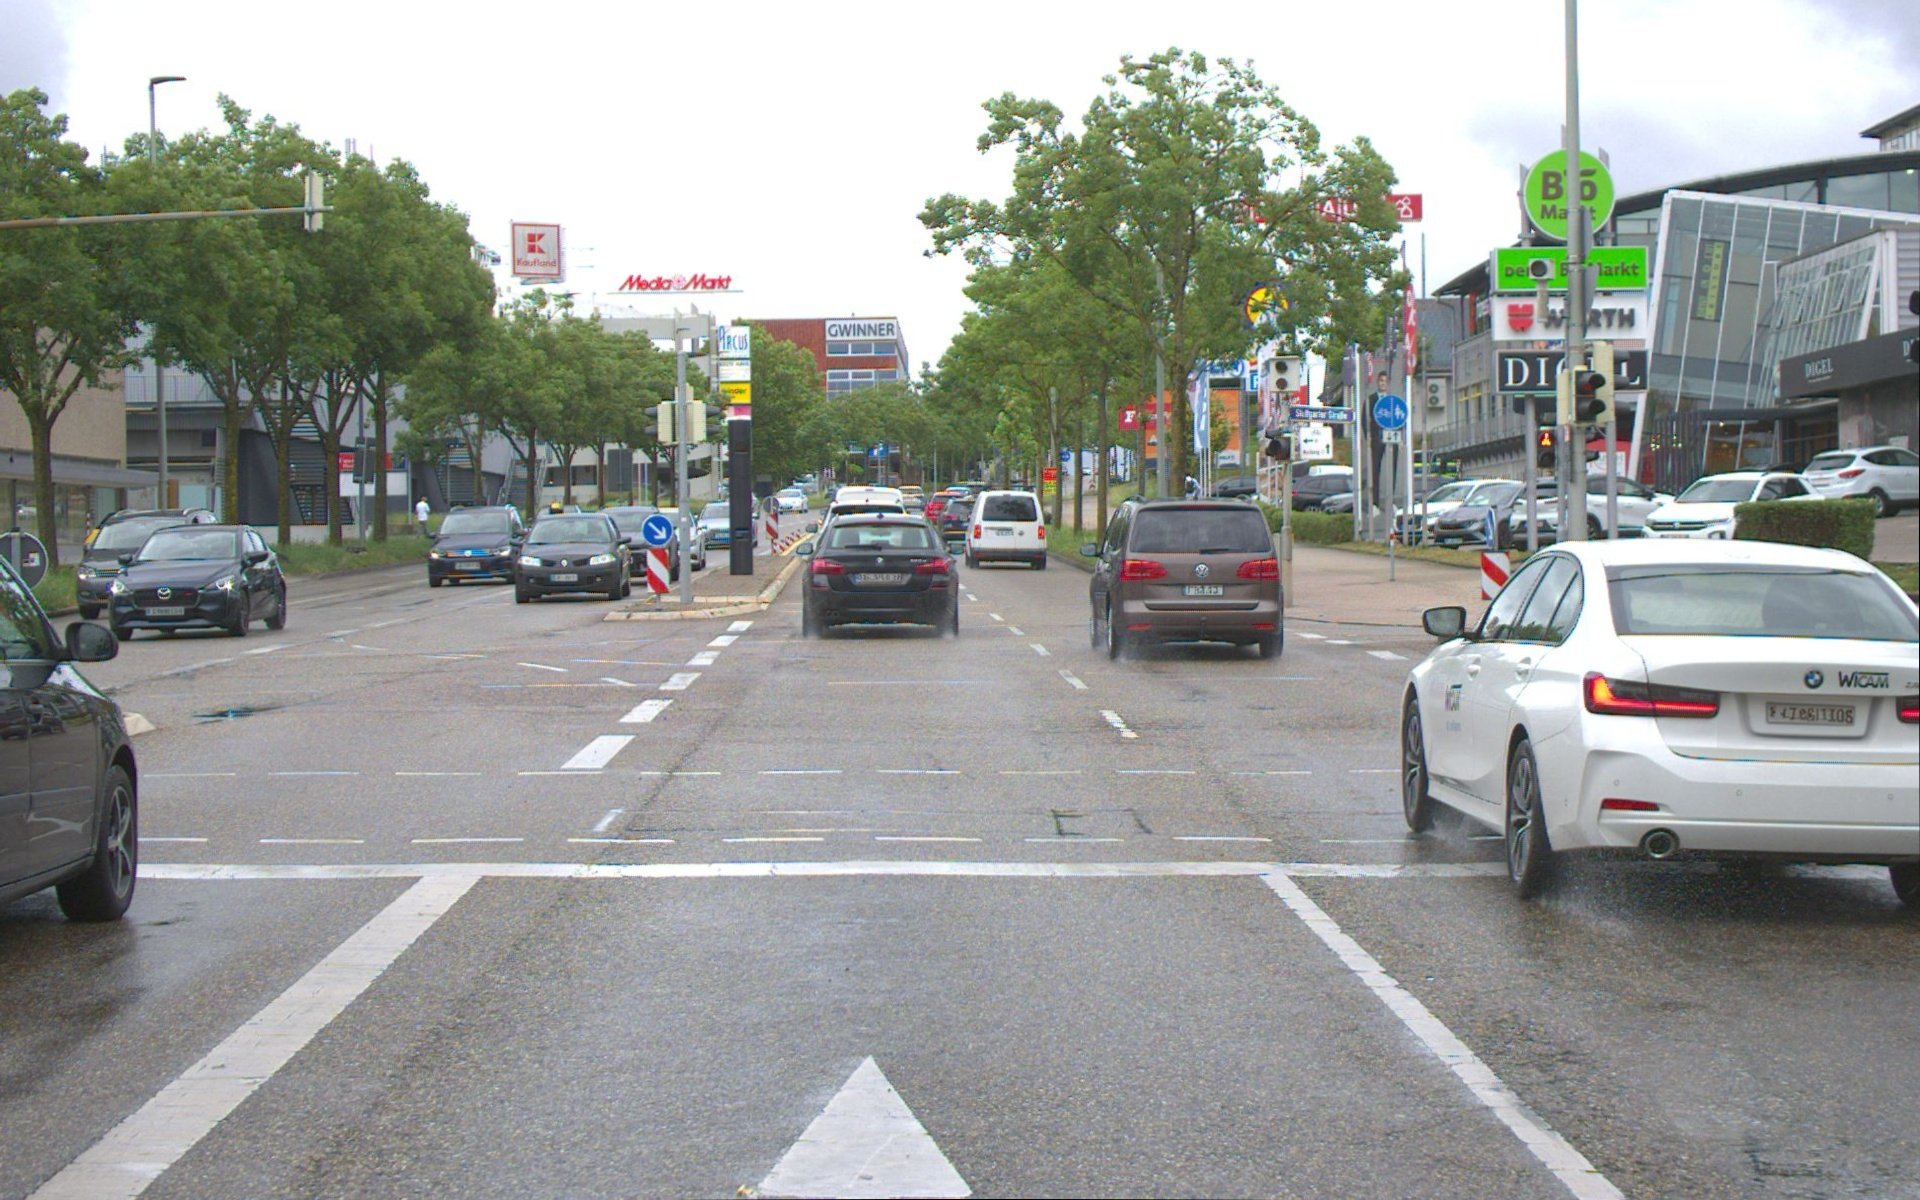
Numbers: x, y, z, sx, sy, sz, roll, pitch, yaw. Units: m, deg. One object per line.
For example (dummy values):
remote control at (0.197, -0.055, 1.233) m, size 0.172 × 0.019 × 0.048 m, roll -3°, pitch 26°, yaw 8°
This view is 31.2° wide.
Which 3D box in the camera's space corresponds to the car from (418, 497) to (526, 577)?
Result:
car at (-10.139, -1.338, 71.722) m, size 1.910 × 1.603 × 4.364 m, roll -1°, pitch 2°, yaw -4°

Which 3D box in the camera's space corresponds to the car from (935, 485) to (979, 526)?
car at (-0.124, -3.753, 135.669) m, size 1.695 × 1.438 × 3.990 m, roll -1°, pitch 4°, yaw 0°

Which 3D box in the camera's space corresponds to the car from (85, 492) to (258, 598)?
car at (-13.500, -0.977, 59.126) m, size 1.910 × 1.721 × 4.884 m, roll -1°, pitch 2°, yaw -1°

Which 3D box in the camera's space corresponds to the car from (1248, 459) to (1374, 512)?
car at (11.609, -3.795, 113.931) m, size 4.111 × 1.697 × 1.799 m, roll 0°, pitch 2°, yaw 5°

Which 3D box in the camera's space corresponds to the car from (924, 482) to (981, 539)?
car at (-0.228, -2.764, 106.384) m, size 1.685 × 1.678 × 3.403 m, roll 1°, pitch 1°, yaw 0°

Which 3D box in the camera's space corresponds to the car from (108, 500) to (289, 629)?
car at (-9.878, -0.503, 44.834) m, size 1.710 × 1.575 × 4.001 m, roll -1°, pitch 2°, yaw -4°

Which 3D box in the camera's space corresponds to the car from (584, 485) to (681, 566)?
car at (-6.325, -1.450, 66.737) m, size 1.744 × 1.484 × 4.830 m, roll -1°, pitch 1°, yaw -4°

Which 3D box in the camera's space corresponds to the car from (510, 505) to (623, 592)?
car at (-6.511, -0.884, 57.189) m, size 1.682 × 1.372 × 4.001 m, roll -1°, pitch 2°, yaw -4°

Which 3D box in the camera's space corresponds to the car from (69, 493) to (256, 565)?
car at (-18.145, -1.602, 78.195) m, size 3.994 × 1.546 × 1.896 m, roll 0°, pitch 2°, yaw 34°

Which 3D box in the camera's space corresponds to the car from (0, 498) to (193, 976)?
car at (-3.865, 0.420, 11.493) m, size 1.713 × 1.484 × 4.078 m, roll -1°, pitch 2°, yaw -1°

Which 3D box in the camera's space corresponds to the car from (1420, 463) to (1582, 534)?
car at (12.166, -2.279, 77.223) m, size 3.588 × 1.530 × 1.643 m, roll -2°, pitch 2°, yaw -40°

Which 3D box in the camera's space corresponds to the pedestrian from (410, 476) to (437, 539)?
pedestrian at (-18.971, -3.267, 121.613) m, size 0.858 × 2.210 × 0.846 m, roll -1°, pitch 2°, yaw -4°

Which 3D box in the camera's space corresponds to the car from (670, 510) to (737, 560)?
car at (-7.836, -2.011, 105.326) m, size 1.723 × 1.393 × 4.790 m, roll -3°, pitch 2°, yaw -1°

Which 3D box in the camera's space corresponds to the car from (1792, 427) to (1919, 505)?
car at (21.443, -3.149, 80.379) m, size 4.142 × 1.765 × 1.737 m, roll -2°, pitch 2°, yaw -40°

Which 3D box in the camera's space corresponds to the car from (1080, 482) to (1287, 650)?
car at (2.237, -0.400, 35.454) m, size 1.801 × 1.581 × 4.451 m, roll 1°, pitch 2°, yaw 0°

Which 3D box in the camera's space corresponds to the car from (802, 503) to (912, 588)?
car at (-1.779, -0.952, 58.272) m, size 1.682 × 1.372 × 4.001 m, roll -1°, pitch 2°, yaw -4°

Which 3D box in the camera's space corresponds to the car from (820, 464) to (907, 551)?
car at (-2.314, -2.213, 83.235) m, size 1.993 × 2.007 × 4.000 m, roll 1°, pitch 1°, yaw -1°

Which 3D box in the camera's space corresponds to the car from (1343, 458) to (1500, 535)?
car at (12.811, -2.889, 95.583) m, size 4.111 × 2.098 × 1.800 m, roll 0°, pitch 2°, yaw 1°

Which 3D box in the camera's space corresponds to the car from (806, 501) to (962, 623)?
car at (-0.909, -0.482, 41.395) m, size 1.781 × 1.393 × 4.001 m, roll 0°, pitch 1°, yaw -1°

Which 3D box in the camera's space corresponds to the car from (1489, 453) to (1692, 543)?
car at (13.127, -2.127, 71.481) m, size 4.016 × 1.657 × 1.982 m, roll -5°, pitch 4°, yaw -40°

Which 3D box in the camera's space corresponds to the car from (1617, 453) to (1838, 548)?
car at (13.314, -1.735, 59.492) m, size 1.930 × 1.571 × 4.278 m, roll 0°, pitch 2°, yaw 41°

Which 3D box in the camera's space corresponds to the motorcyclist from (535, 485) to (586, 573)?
motorcyclist at (-7.167, -1.289, 61.787) m, size 0.806 × 1.553 × 1.268 m, roll 0°, pitch 2°, yaw -2°

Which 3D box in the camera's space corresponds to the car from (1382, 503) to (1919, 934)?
car at (3.069, 0.382, 14.813) m, size 1.801 × 1.539 × 4.620 m, roll 1°, pitch 1°, yaw -1°

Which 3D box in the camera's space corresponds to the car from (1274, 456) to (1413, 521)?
car at (11.879, -3.463, 106.705) m, size 4.111 × 1.898 × 1.800 m, roll -1°, pitch 2°, yaw 1°

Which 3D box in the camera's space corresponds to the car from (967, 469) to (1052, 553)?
car at (1.123, -2.059, 79.565) m, size 1.781 × 1.860 × 4.001 m, roll -1°, pitch 2°, yaw -1°

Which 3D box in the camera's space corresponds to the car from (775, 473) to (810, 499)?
car at (-9.748, -6.617, 199.845) m, size 1.943 × 1.443 × 4.001 m, roll 0°, pitch 2°, yaw -2°

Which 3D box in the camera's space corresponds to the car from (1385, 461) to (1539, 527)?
car at (12.415, -2.613, 84.920) m, size 3.589 × 1.530 × 1.796 m, roll -3°, pitch 3°, yaw -40°
